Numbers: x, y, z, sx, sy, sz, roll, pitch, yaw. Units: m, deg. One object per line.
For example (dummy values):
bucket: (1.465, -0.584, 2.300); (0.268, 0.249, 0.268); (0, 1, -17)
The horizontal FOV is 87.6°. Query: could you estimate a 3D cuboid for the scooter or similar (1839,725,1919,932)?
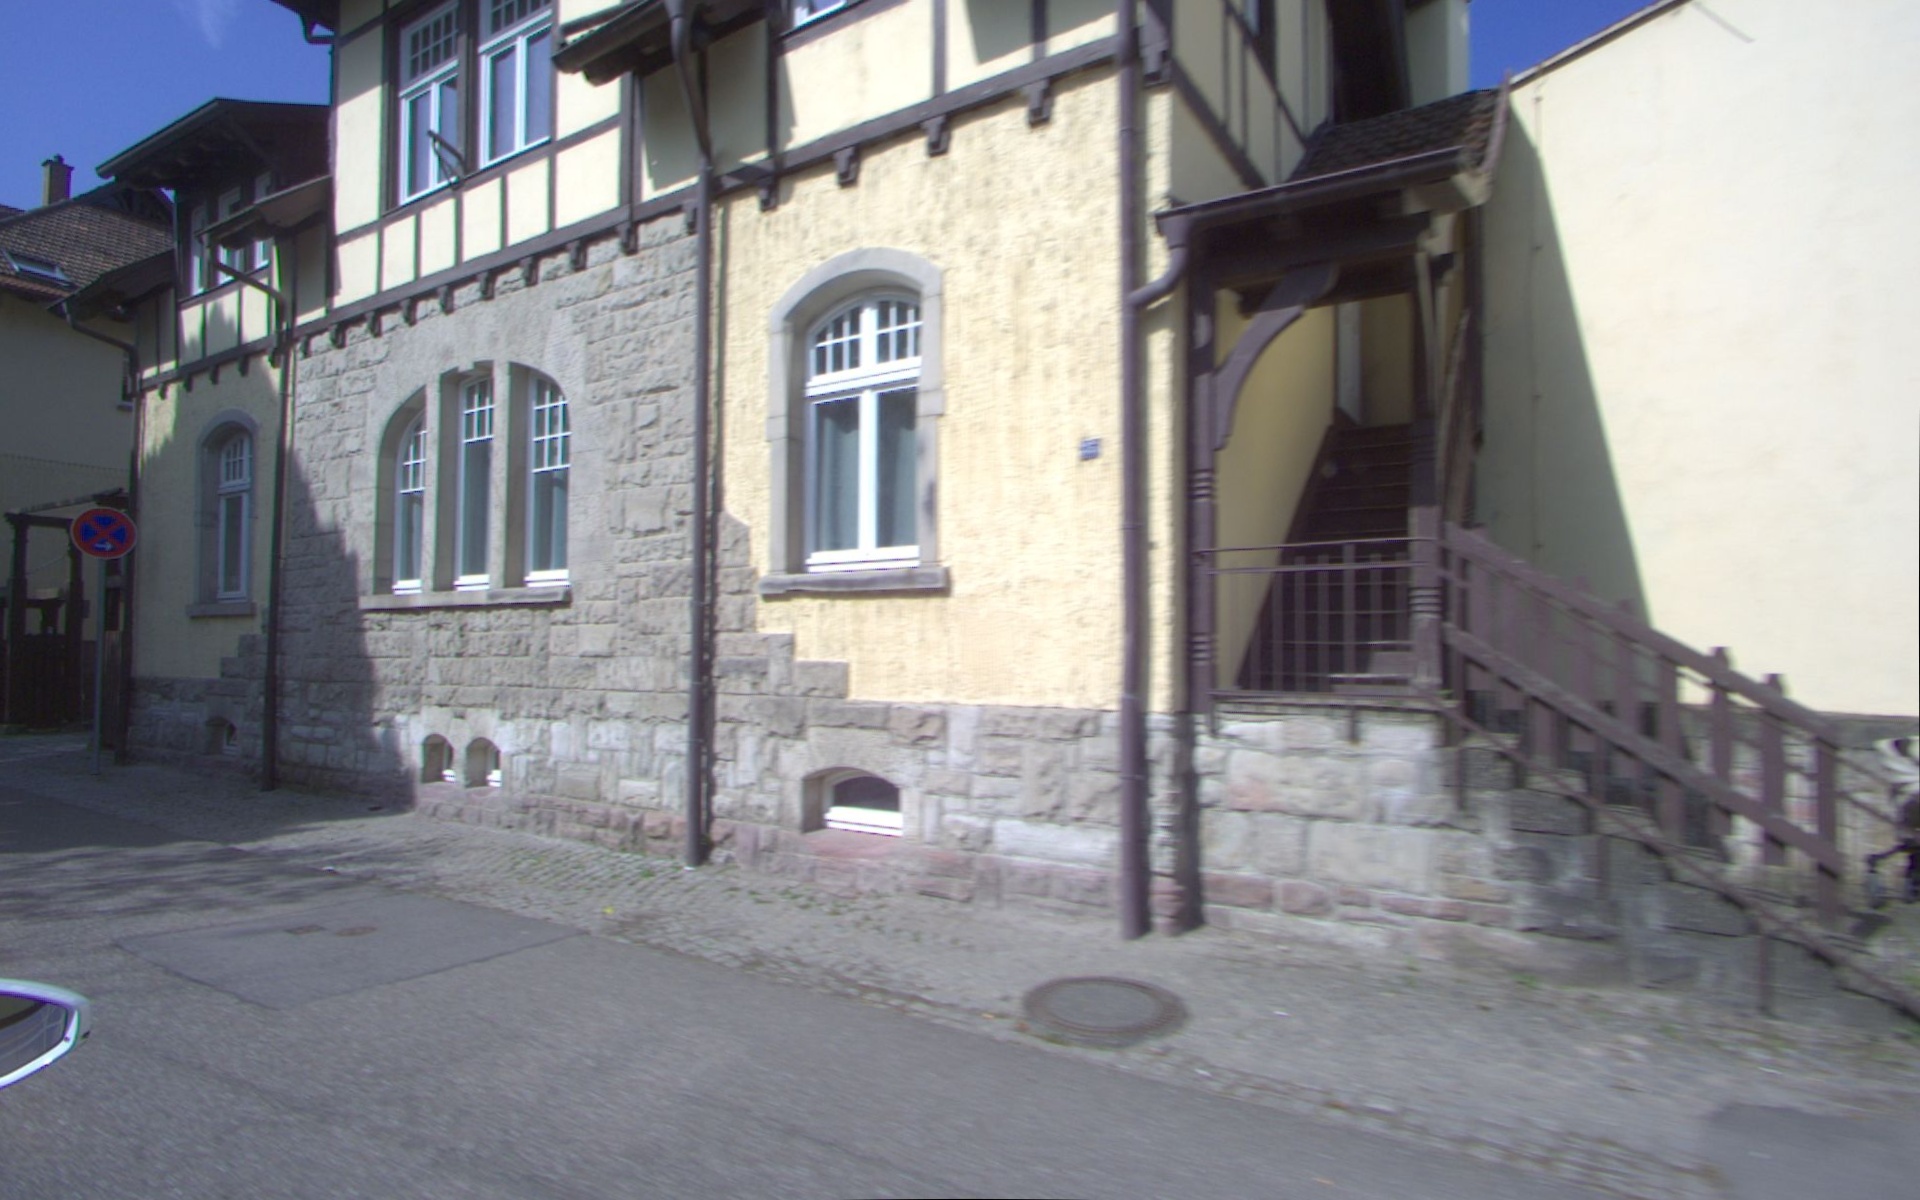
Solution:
scooter or similar: (5.594, 1.277, 5.492); (0.613, 1.077, 1.006); (1, -2, -27)
